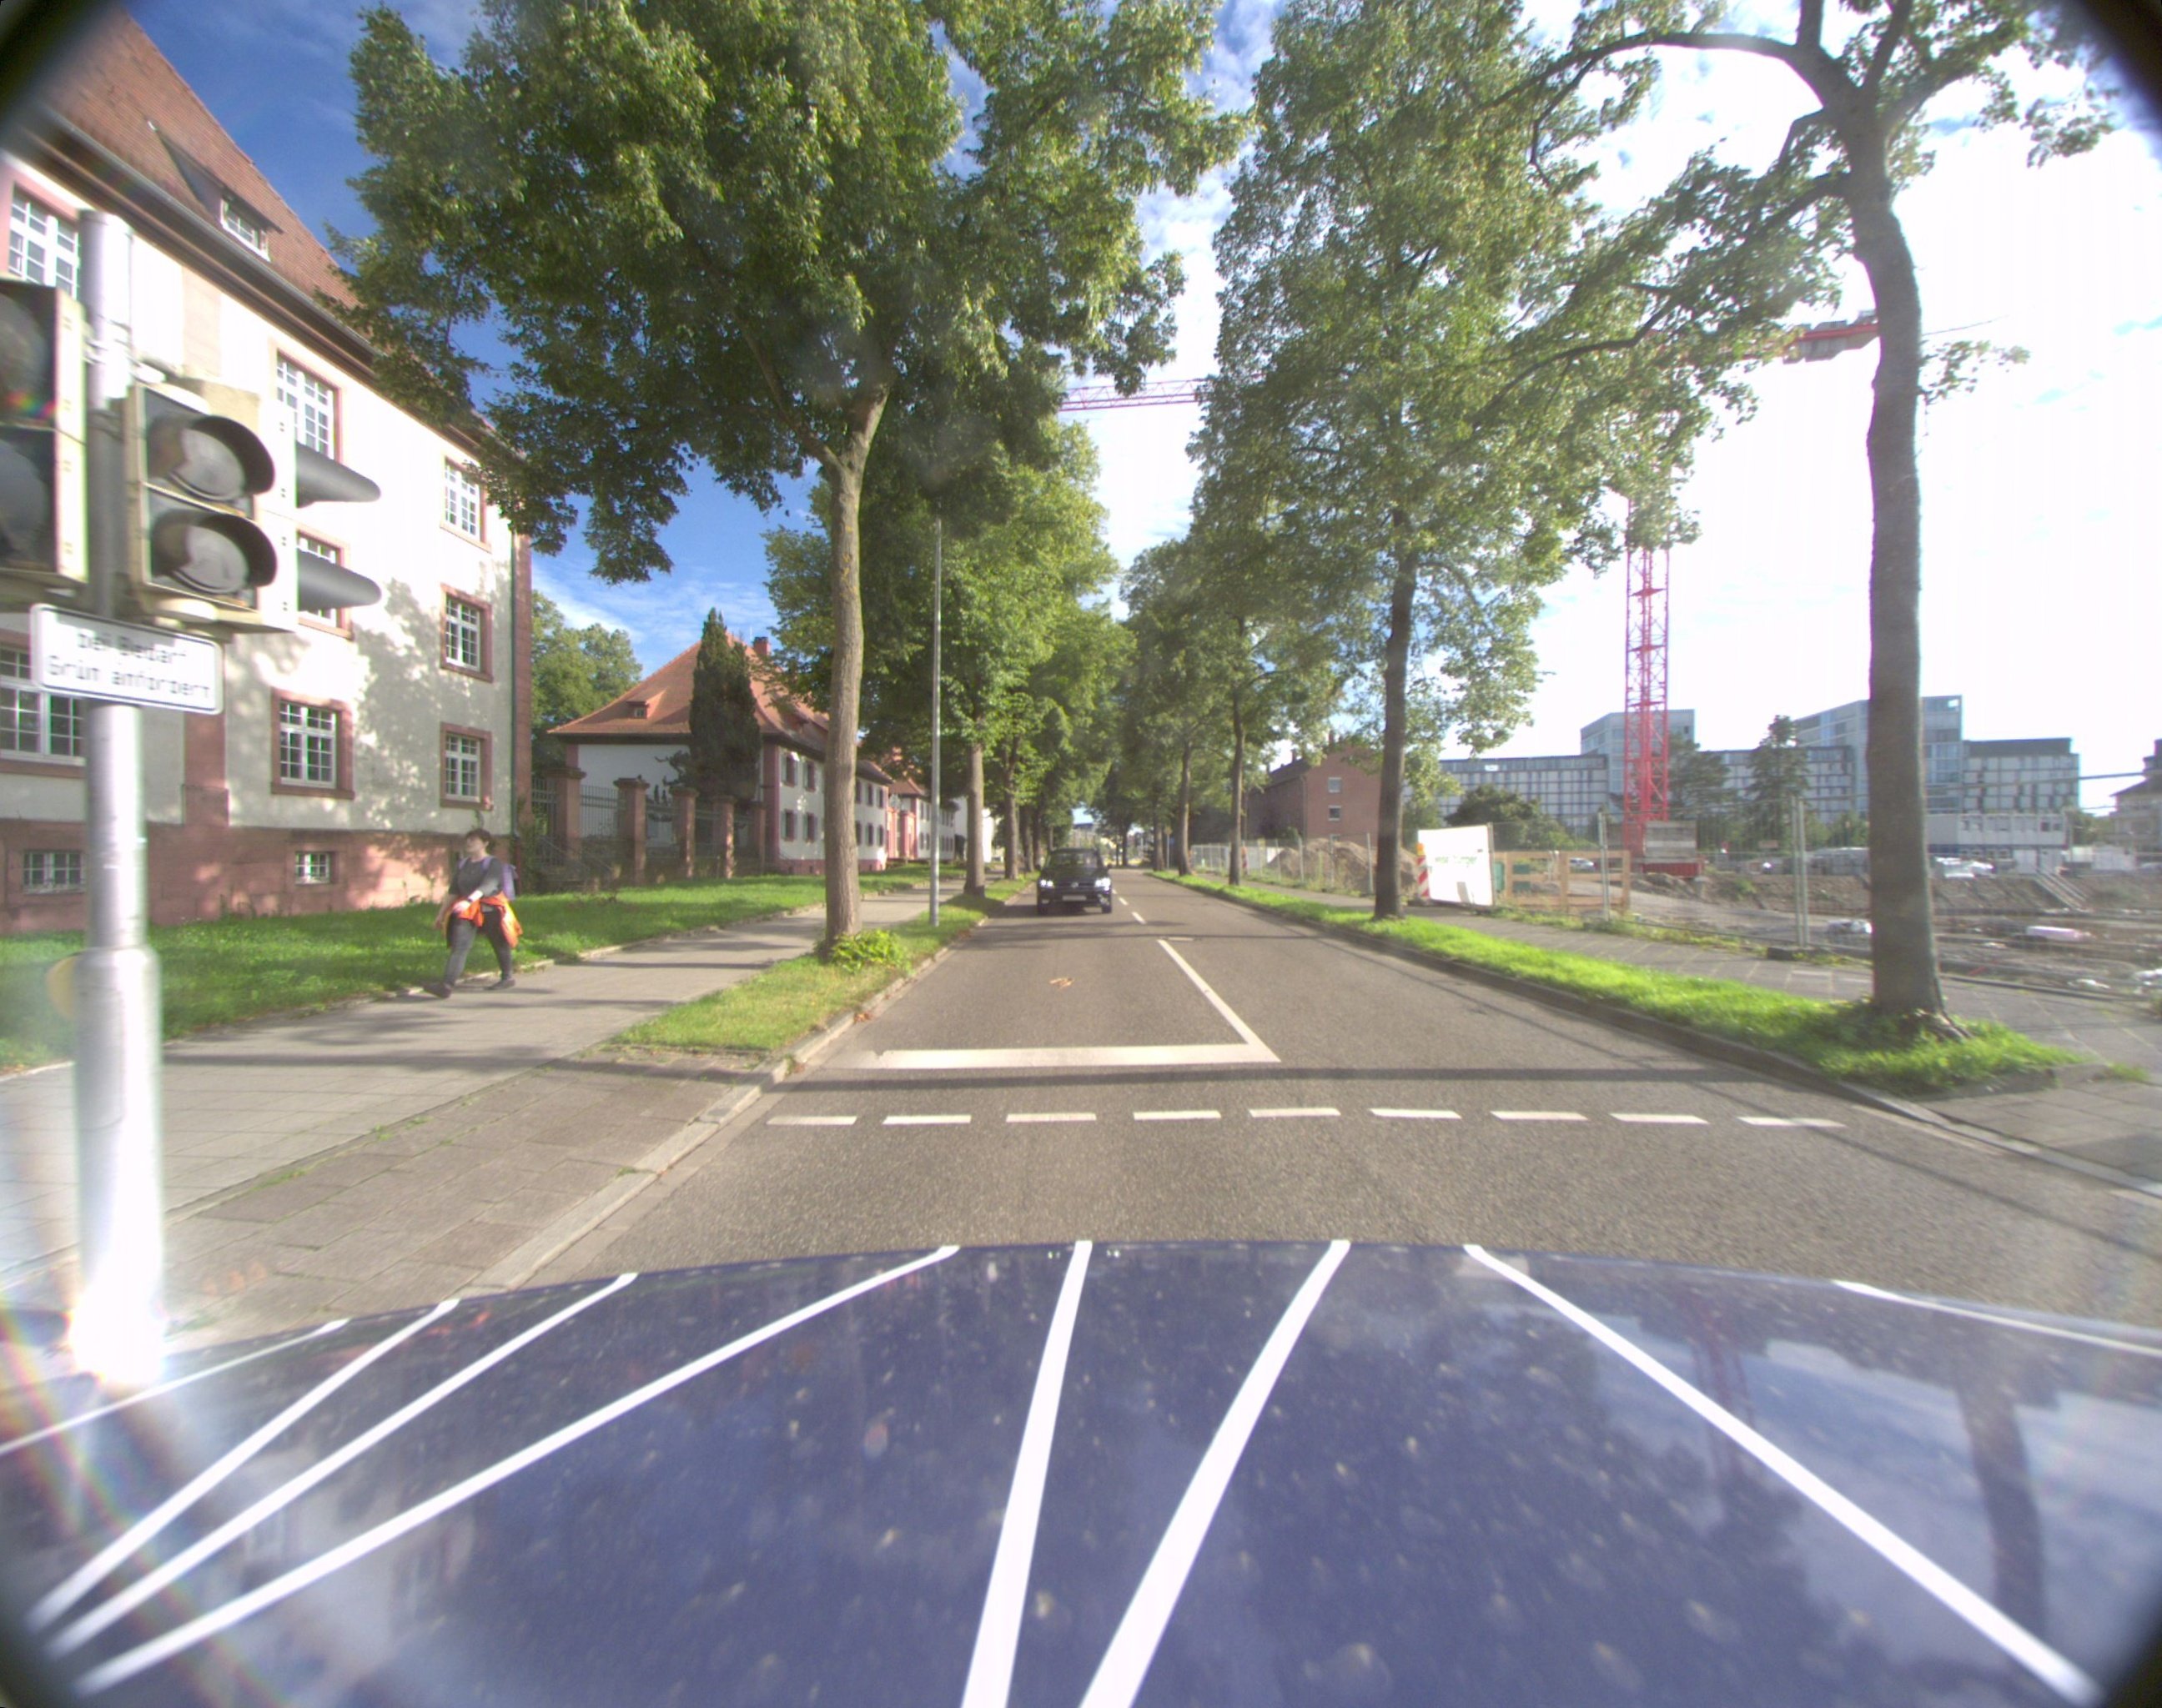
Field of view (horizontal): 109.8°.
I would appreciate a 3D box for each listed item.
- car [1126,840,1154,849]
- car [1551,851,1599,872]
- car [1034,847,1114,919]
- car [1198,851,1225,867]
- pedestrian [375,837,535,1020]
[{"bbox_3d":[13.474,-2.136,174.341,2.482,1.856,6.234,-2,1,-44],"label":"car"},{"bbox_3d":[47.492,0.695,73.123,1.818,1.797,3.981,-1,2,-6],"label":"car"},{"bbox_3d":[-0.116,0.690,19.856,1.821,1.648,4.243,-1,0,1],"label":"car"},{"bbox_3d":[12.858,0.513,75.168,1.998,1.421,4.507,1,1,2],"label":"car"},{"bbox_3d":[-5.800,0.657,7.090,0.816,1.581,0.769,2,1,-1],"label":"pedestrian"}]
